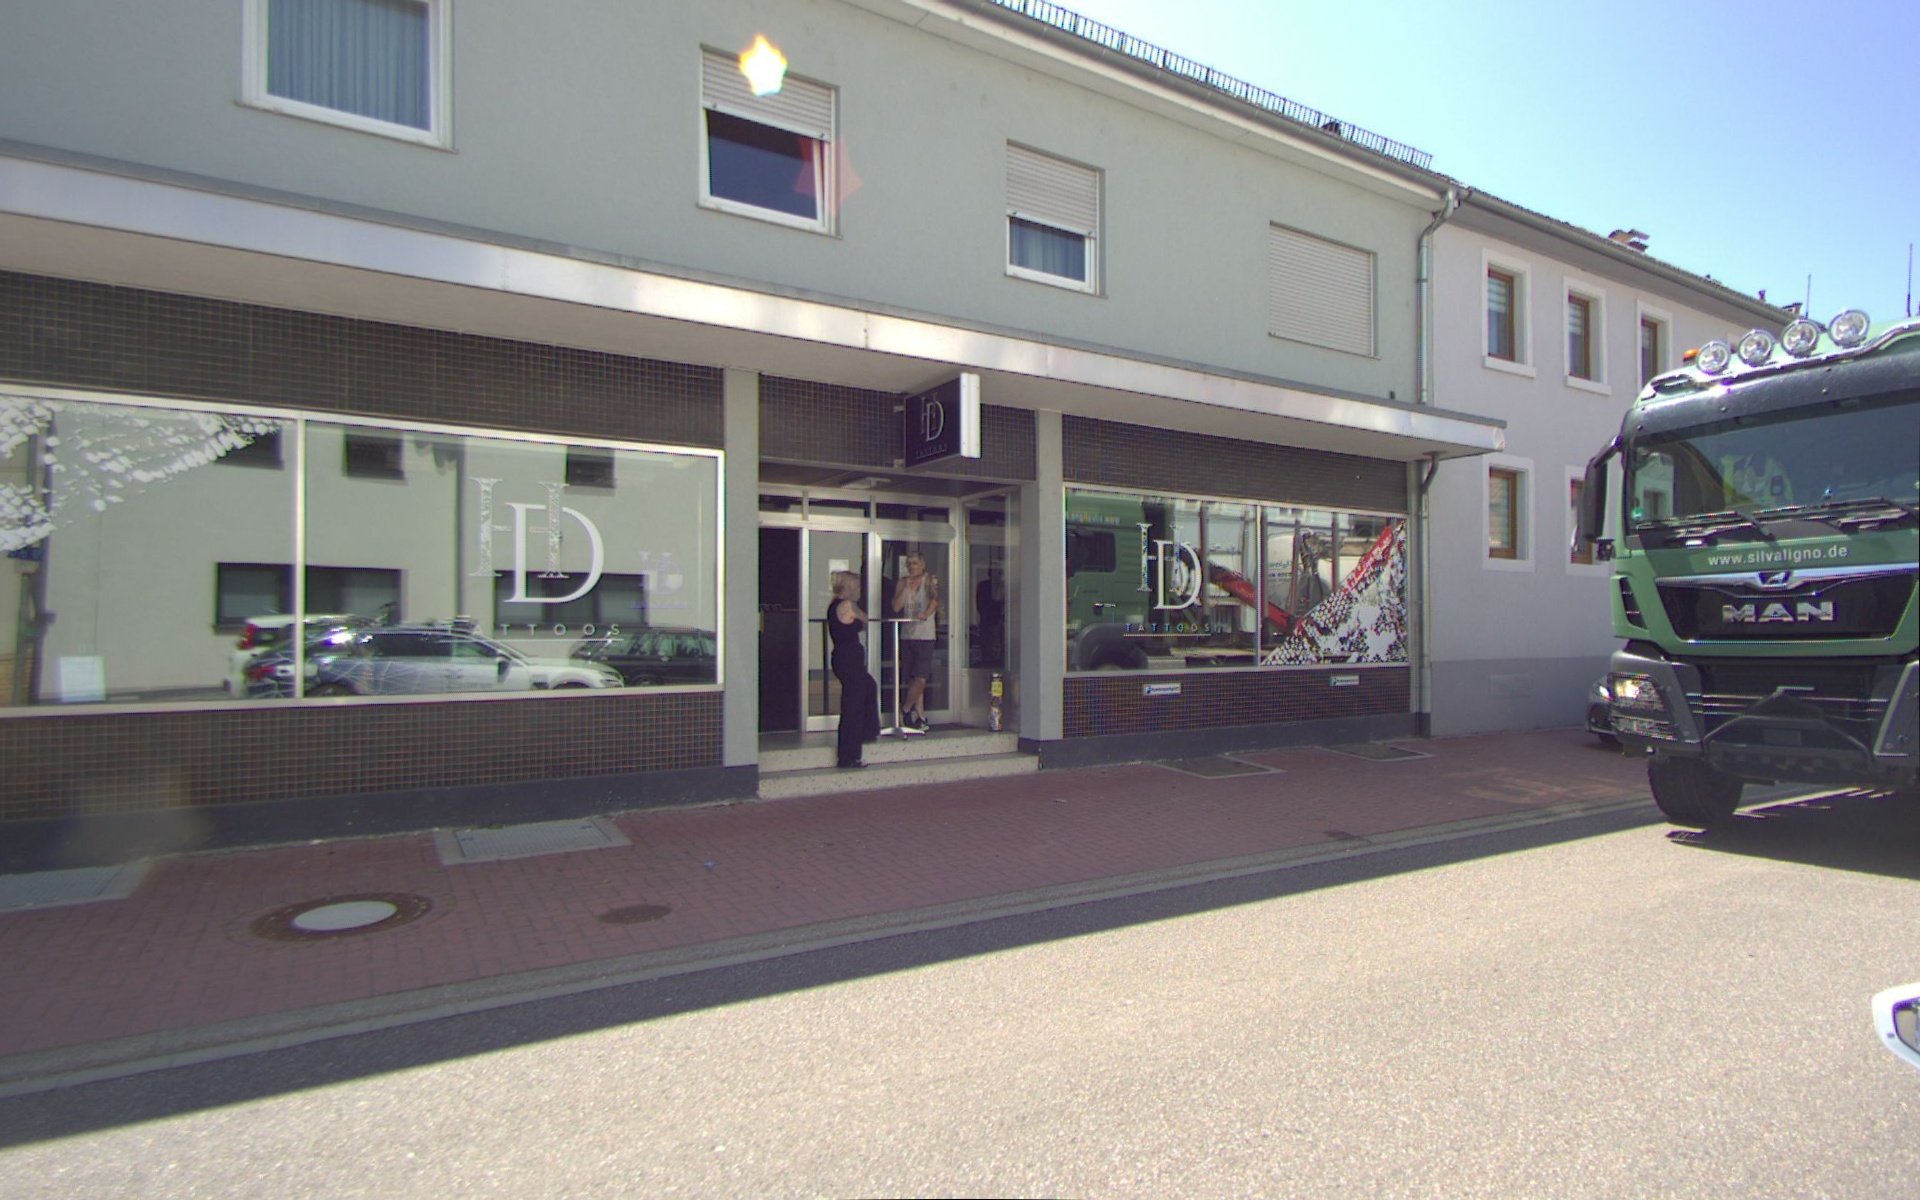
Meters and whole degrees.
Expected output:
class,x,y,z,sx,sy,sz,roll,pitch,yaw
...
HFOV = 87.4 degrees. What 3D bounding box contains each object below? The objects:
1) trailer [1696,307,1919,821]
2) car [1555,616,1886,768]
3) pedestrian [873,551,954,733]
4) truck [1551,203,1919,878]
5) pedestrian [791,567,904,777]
class,x,y,z,sx,sy,sz,roll,pitch,yaw
trailer,14.015,-0.117,12.160,15.523,4.031,2.617,1,-3,-32
car,9.783,1.059,12.841,4.512,1.578,1.799,1,1,-31
pedestrian,-0.457,0.402,10.063,0.618,1.736,0.666,2,0,10
truck,8.192,-0.260,8.508,6.775,4.037,2.605,1,-3,-32
pedestrian,-0.975,0.594,8.667,0.762,1.707,0.621,1,0,-32
